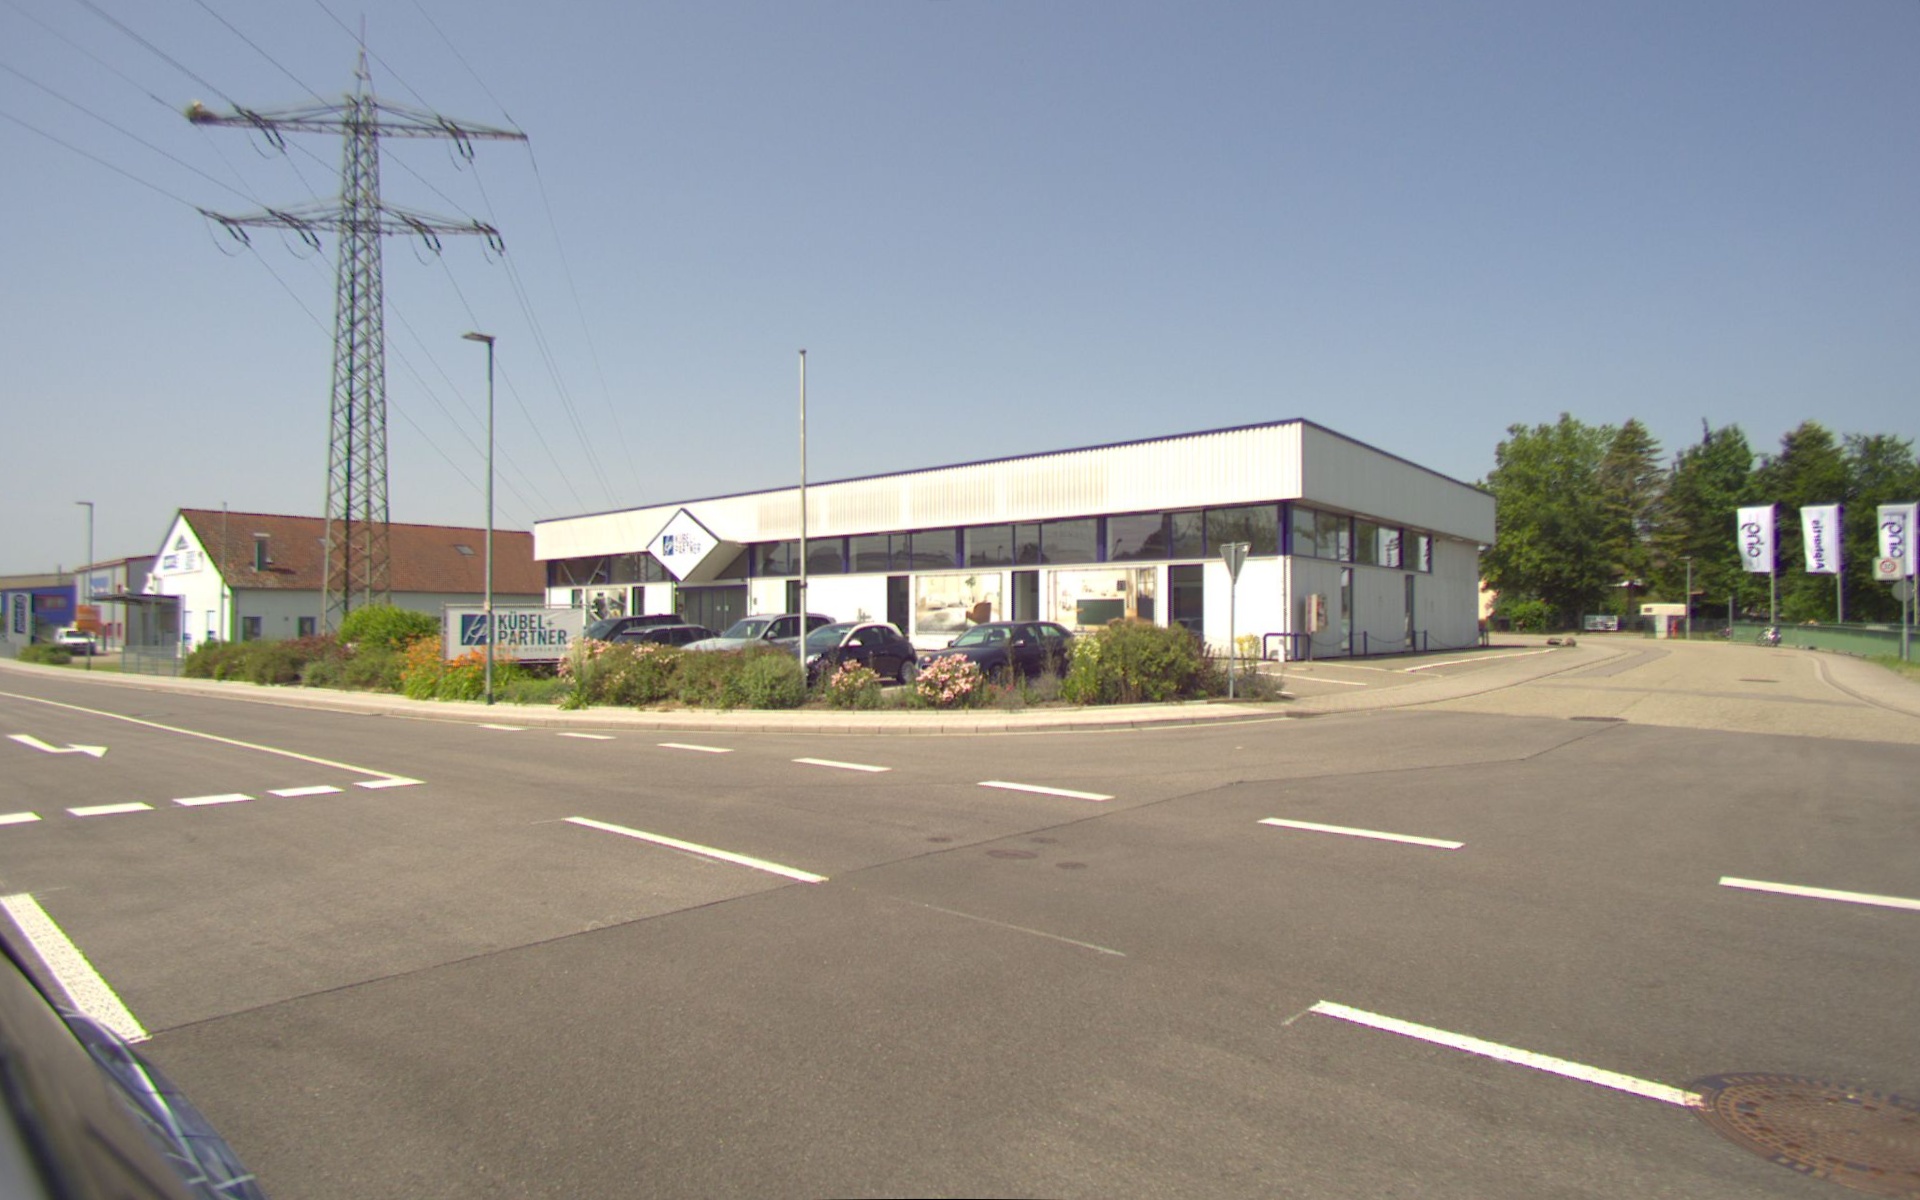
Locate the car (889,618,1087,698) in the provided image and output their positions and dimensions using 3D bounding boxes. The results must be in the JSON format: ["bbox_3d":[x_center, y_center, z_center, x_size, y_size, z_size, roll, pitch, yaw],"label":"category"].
[{"bbox_3d":[0.657,1.104,19.950,1.831,1.405,4.184,-2,-3,37],"label":"car"}]

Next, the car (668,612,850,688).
[{"bbox_3d":[-4.772,1.196,24.548,1.831,1.660,4.184,-2,-3,37],"label":"car"}]

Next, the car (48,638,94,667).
[{"bbox_3d":[-65.052,3.820,73.999,4.679,2.029,1.972,-1,-2,42],"label":"car"}]

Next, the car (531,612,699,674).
[{"bbox_3d":[-9.639,1.217,28.538,1.831,1.608,4.184,-2,-3,37],"label":"car"}]

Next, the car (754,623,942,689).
[{"bbox_3d":[-2.398,1.210,22.586,1.831,1.325,4.184,-2,-3,37],"label":"car"}]

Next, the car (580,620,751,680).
[{"bbox_3d":[-7.564,1.284,26.346,1.994,1.425,3.954,-2,-3,33],"label":"car"}]

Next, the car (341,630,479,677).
[{"bbox_3d":[-20.616,1.965,38.070,1.762,1.467,4.183,-2,0,39],"label":"car"}]
